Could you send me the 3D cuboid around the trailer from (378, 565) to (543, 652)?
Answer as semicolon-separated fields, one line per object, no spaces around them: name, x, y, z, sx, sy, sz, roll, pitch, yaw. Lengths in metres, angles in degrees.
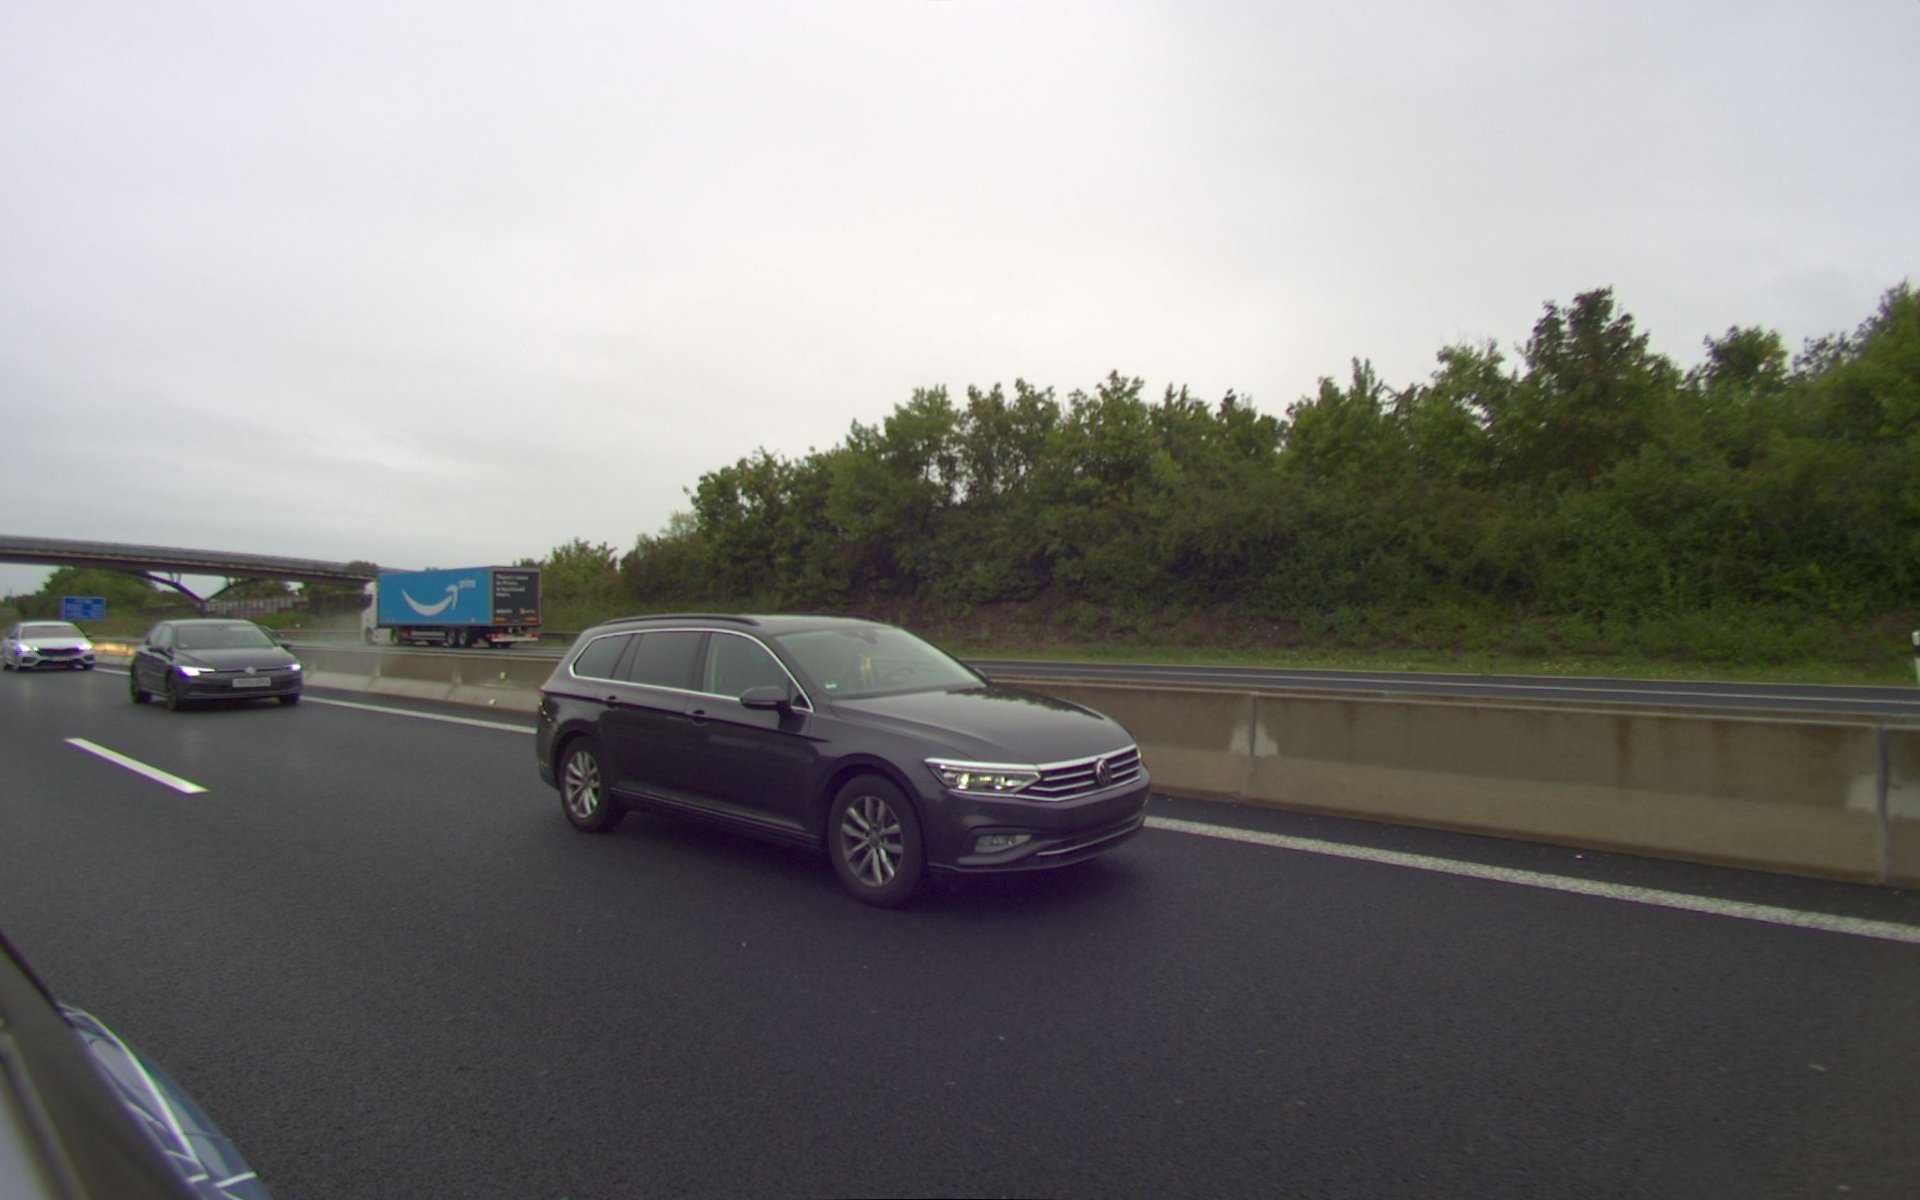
trailer;-26.679;0.524;53.522;13.517;4.114;2.761;-1;-1;41

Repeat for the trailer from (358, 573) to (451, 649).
trailer;-31.855;0.647;57.967;6.038;4.114;2.761;-1;-1;40

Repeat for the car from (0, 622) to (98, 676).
car;-27.586;1.430;30.501;4.112;1.518;1.881;-1;-1;41

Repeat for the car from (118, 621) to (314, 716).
car;-12.945;1.086;17.510;4.458;1.416;1.880;-1;-1;42

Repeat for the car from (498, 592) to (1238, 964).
car;-0.915;0.772;6.445;4.849;1.508;1.880;-1;-1;41
